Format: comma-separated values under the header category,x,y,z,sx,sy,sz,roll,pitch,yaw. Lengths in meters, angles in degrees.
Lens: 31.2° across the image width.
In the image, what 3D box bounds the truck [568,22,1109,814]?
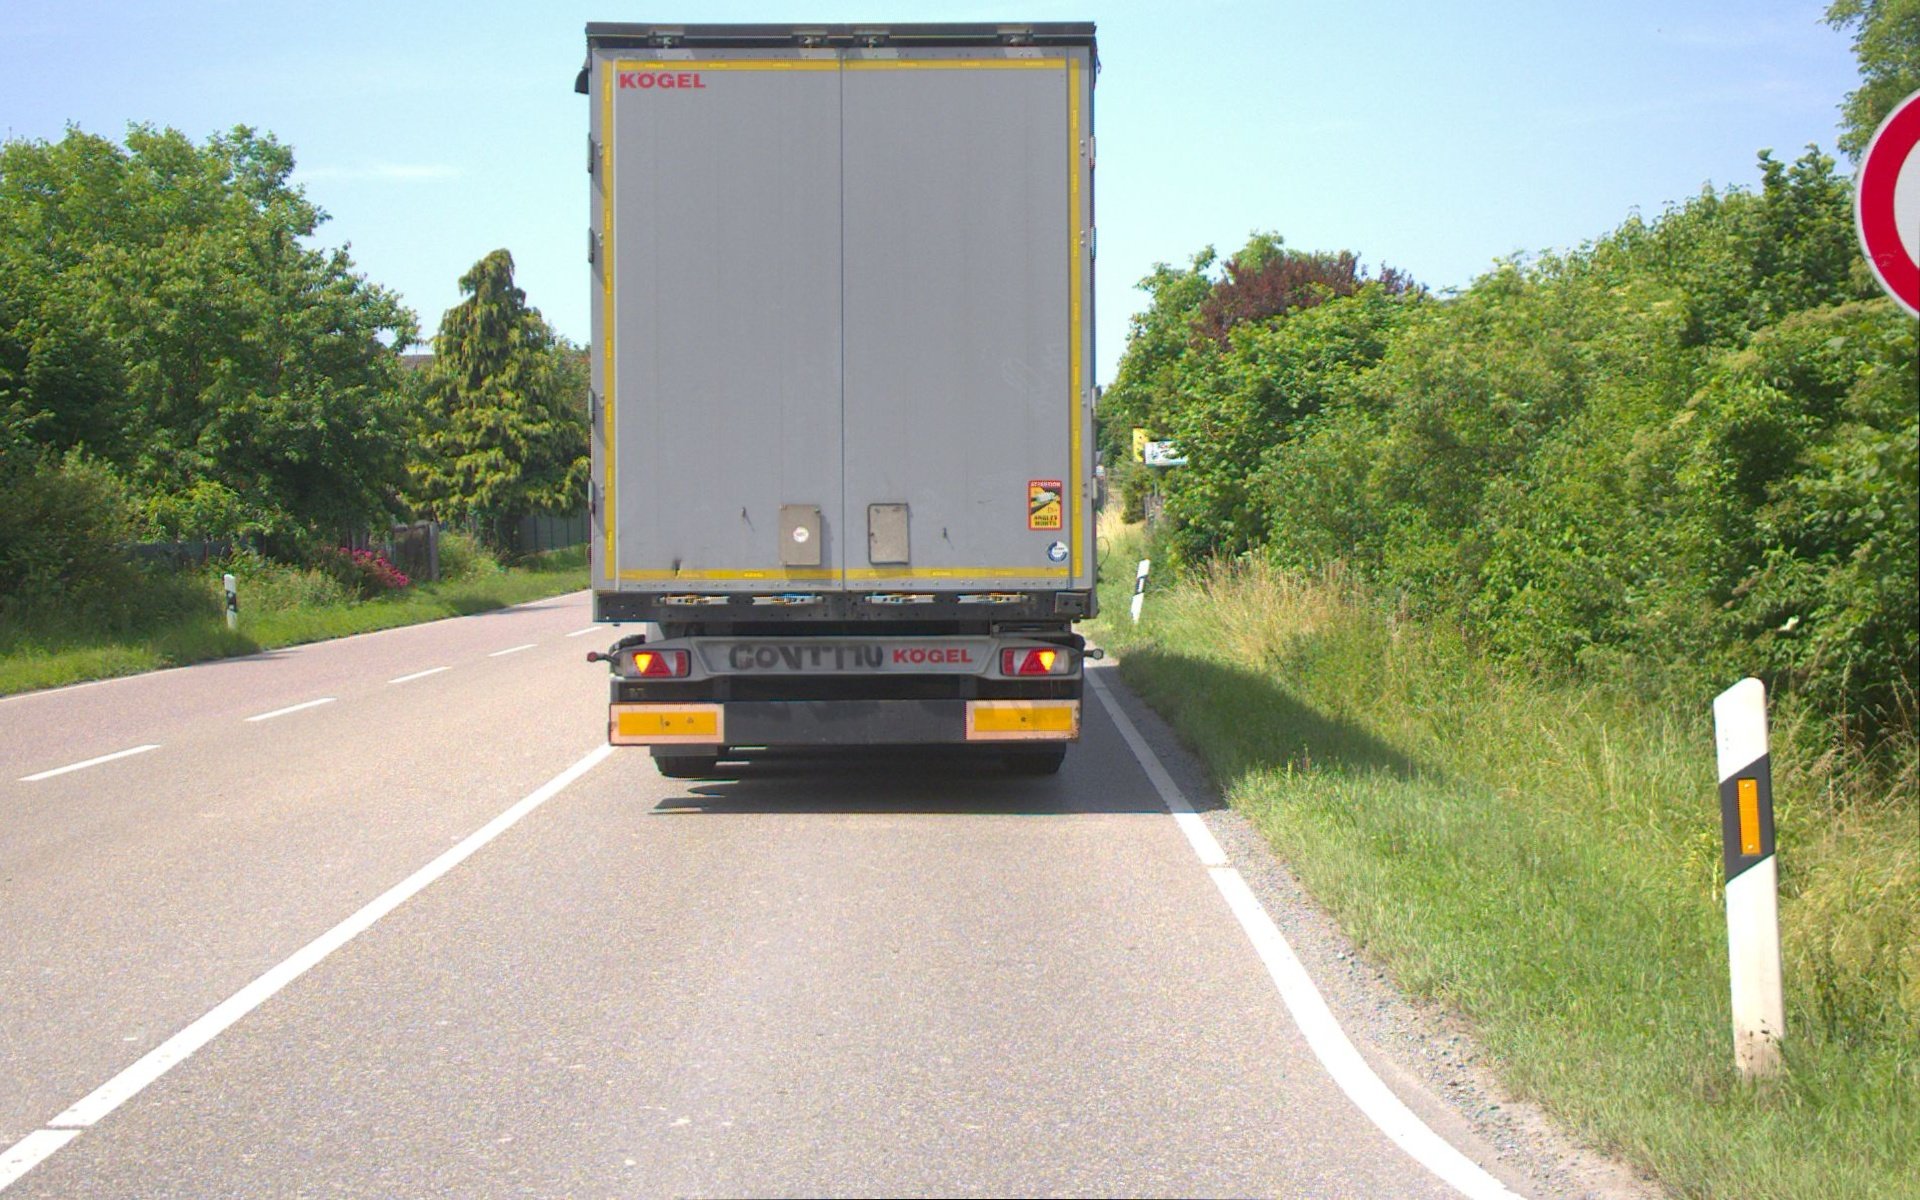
category,x,y,z,sx,sy,sz,roll,pitch,yaw
truck,-0.684,-1.011,21.508,2.647,3.903,8.826,1,1,-1
